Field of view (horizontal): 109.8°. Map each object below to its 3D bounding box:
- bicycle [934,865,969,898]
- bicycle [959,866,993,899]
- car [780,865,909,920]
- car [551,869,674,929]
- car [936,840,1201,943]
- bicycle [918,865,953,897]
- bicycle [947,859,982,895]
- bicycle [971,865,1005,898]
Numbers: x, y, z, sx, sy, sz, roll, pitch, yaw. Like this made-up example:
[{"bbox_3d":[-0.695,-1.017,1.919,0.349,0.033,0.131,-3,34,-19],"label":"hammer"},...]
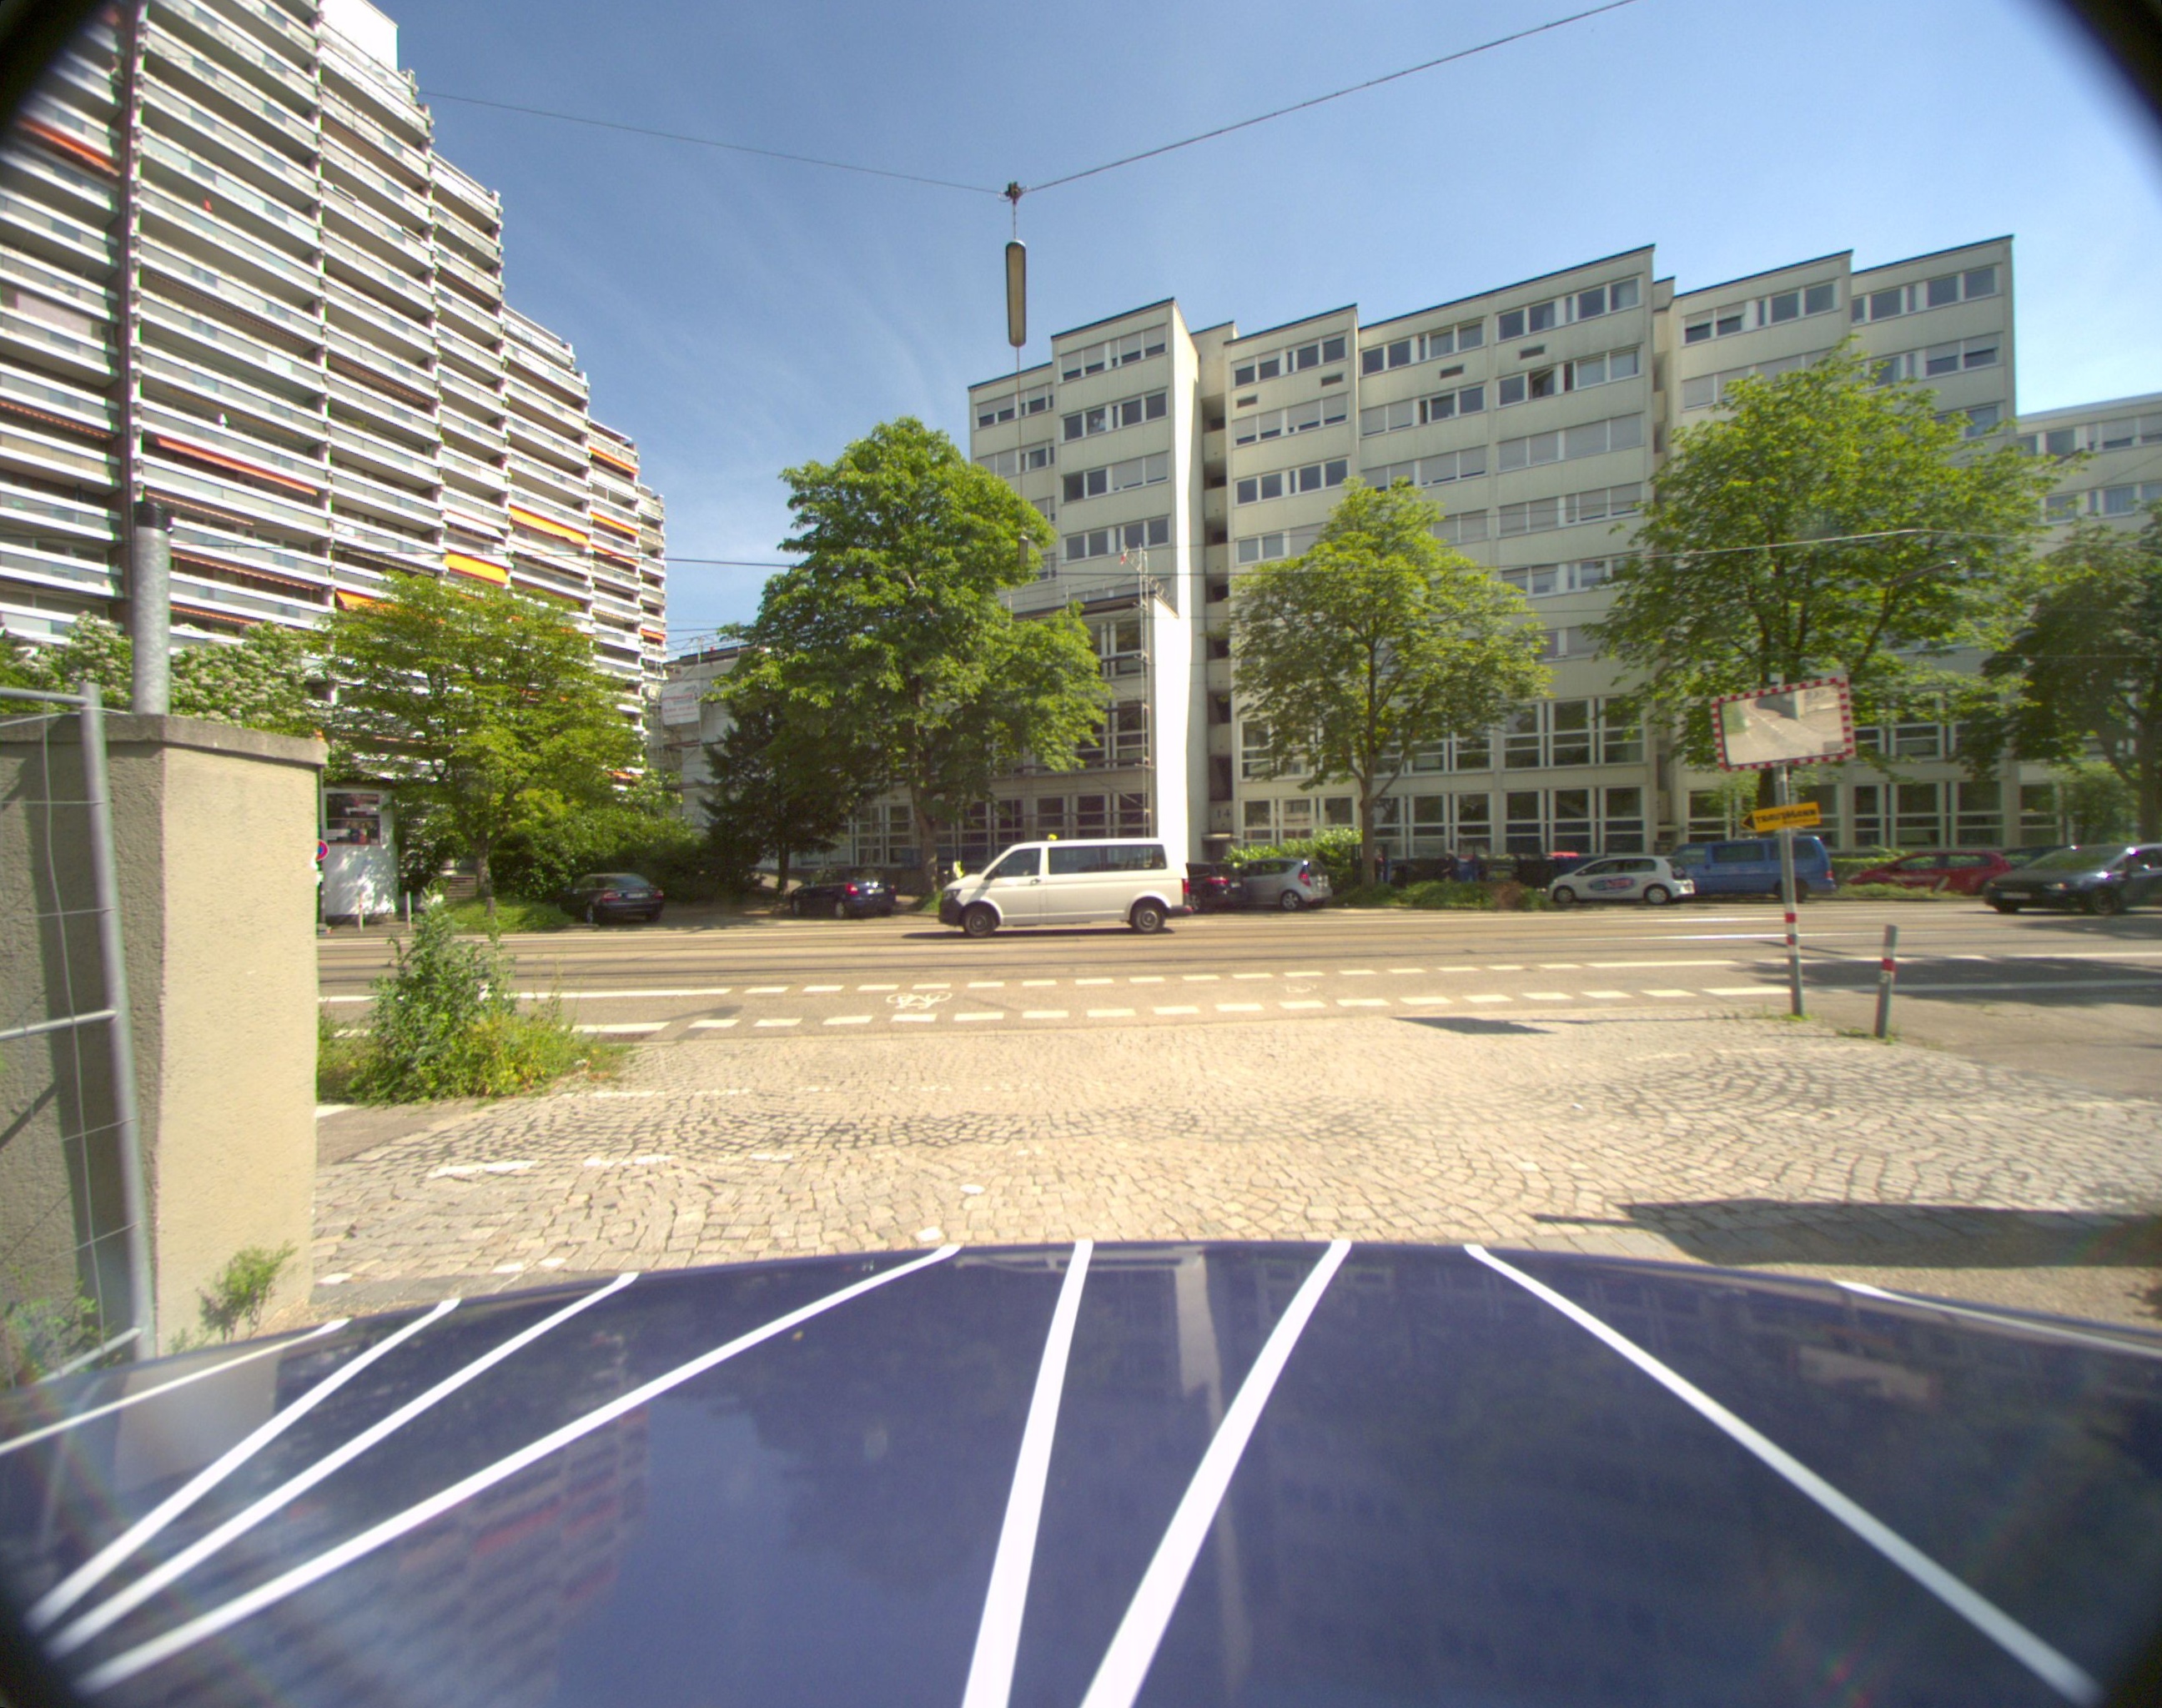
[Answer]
[{"bbox_3d":[-5.105,1.072,30.022,0.488,1.193,2.019,-1,0,17],"label":"bicycle"},{"bbox_3d":[-4.081,1.081,29.588,0.488,1.193,2.019,-1,0,17],"label":"bicycle"},{"bbox_3d":[-7.003,1.080,22.318,3.974,1.440,1.807,-2,0,42],"label":"car"},{"bbox_3d":[-13.559,1.225,21.901,4.135,1.402,1.846,0,3,41],"label":"car"},{"bbox_3d":[-0.271,0.757,16.172,5.246,1.934,1.996,-1,0,-2],"label":"car"},{"bbox_3d":[-5.809,1.061,30.421,0.488,1.193,2.019,-1,0,15],"label":"bicycle"},{"bbox_3d":[-4.532,0.877,29.693,0.488,1.370,2.019,-1,0,17],"label":"bicycle"},{"bbox_3d":[-3.589,1.060,29.422,0.488,1.193,2.019,-1,0,17],"label":"bicycle"}]
